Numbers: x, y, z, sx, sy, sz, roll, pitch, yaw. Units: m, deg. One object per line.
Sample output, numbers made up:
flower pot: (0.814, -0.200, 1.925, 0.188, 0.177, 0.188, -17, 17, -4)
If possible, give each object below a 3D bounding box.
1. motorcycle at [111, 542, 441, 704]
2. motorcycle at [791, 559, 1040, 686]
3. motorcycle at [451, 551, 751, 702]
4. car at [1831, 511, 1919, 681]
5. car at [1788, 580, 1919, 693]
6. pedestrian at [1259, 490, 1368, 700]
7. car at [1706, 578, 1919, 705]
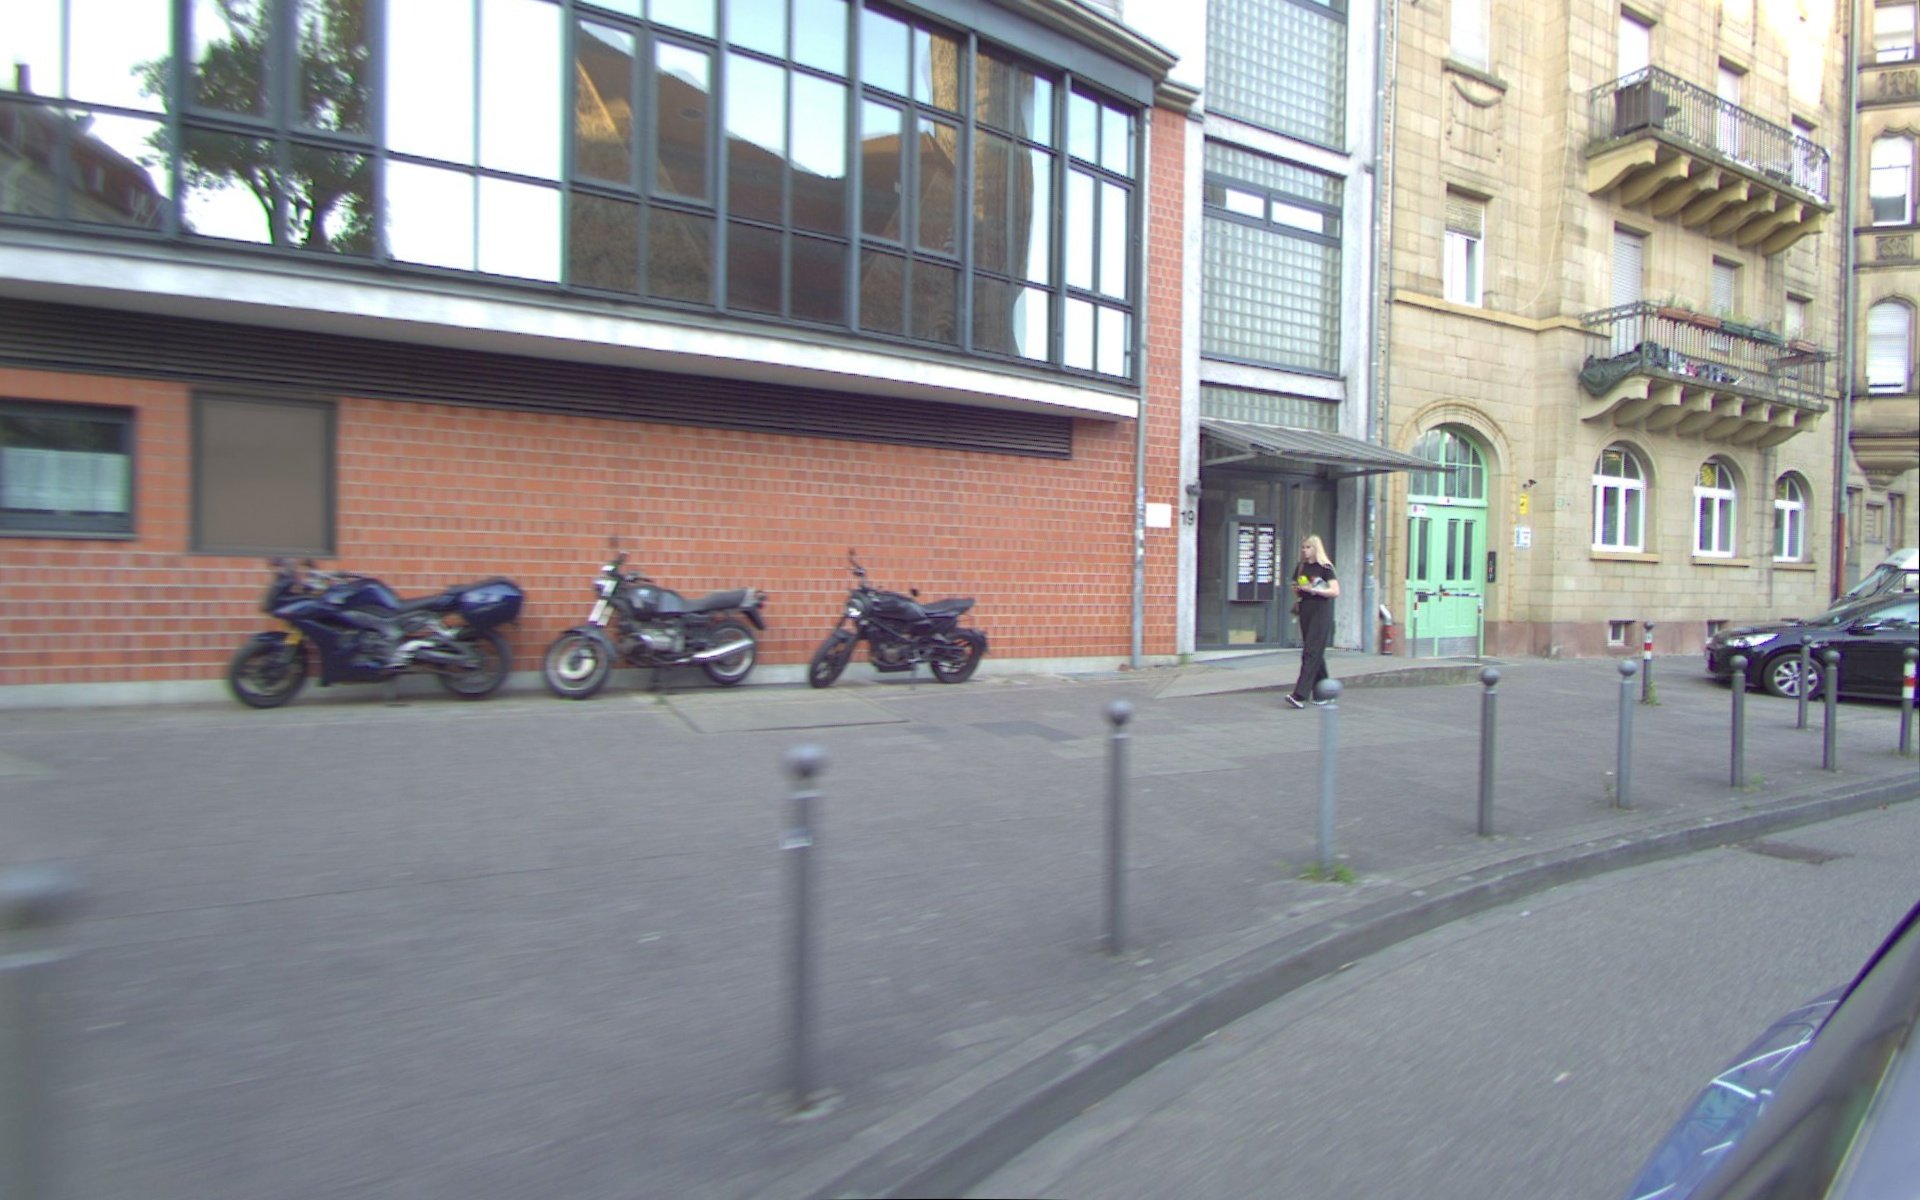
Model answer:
motorcycle: (-5.199, 0.149, 7.845, 2.043, 1.116, 0.591, 0, 4, -32)
motorcycle: (-0.423, 0.201, 10.280, 2.391, 1.153, 0.804, 0, 3, -29)
motorcycle: (-3.101, 0.179, 8.933, 2.375, 1.153, 0.776, -1, 3, -42)
car: (16.477, -0.043, 15.320, 4.691, 2.578, 1.896, 2, 2, 33)
car: (14.381, 0.524, 13.987, 4.327, 1.521, 1.890, 2, 2, 34)
pedestrian: (3.603, -0.055, 10.321, 0.840, 2.039, 0.610, 0, 1, -28)
car: (12.167, 0.510, 12.925, 4.037, 1.510, 1.705, 2, 1, 31)
